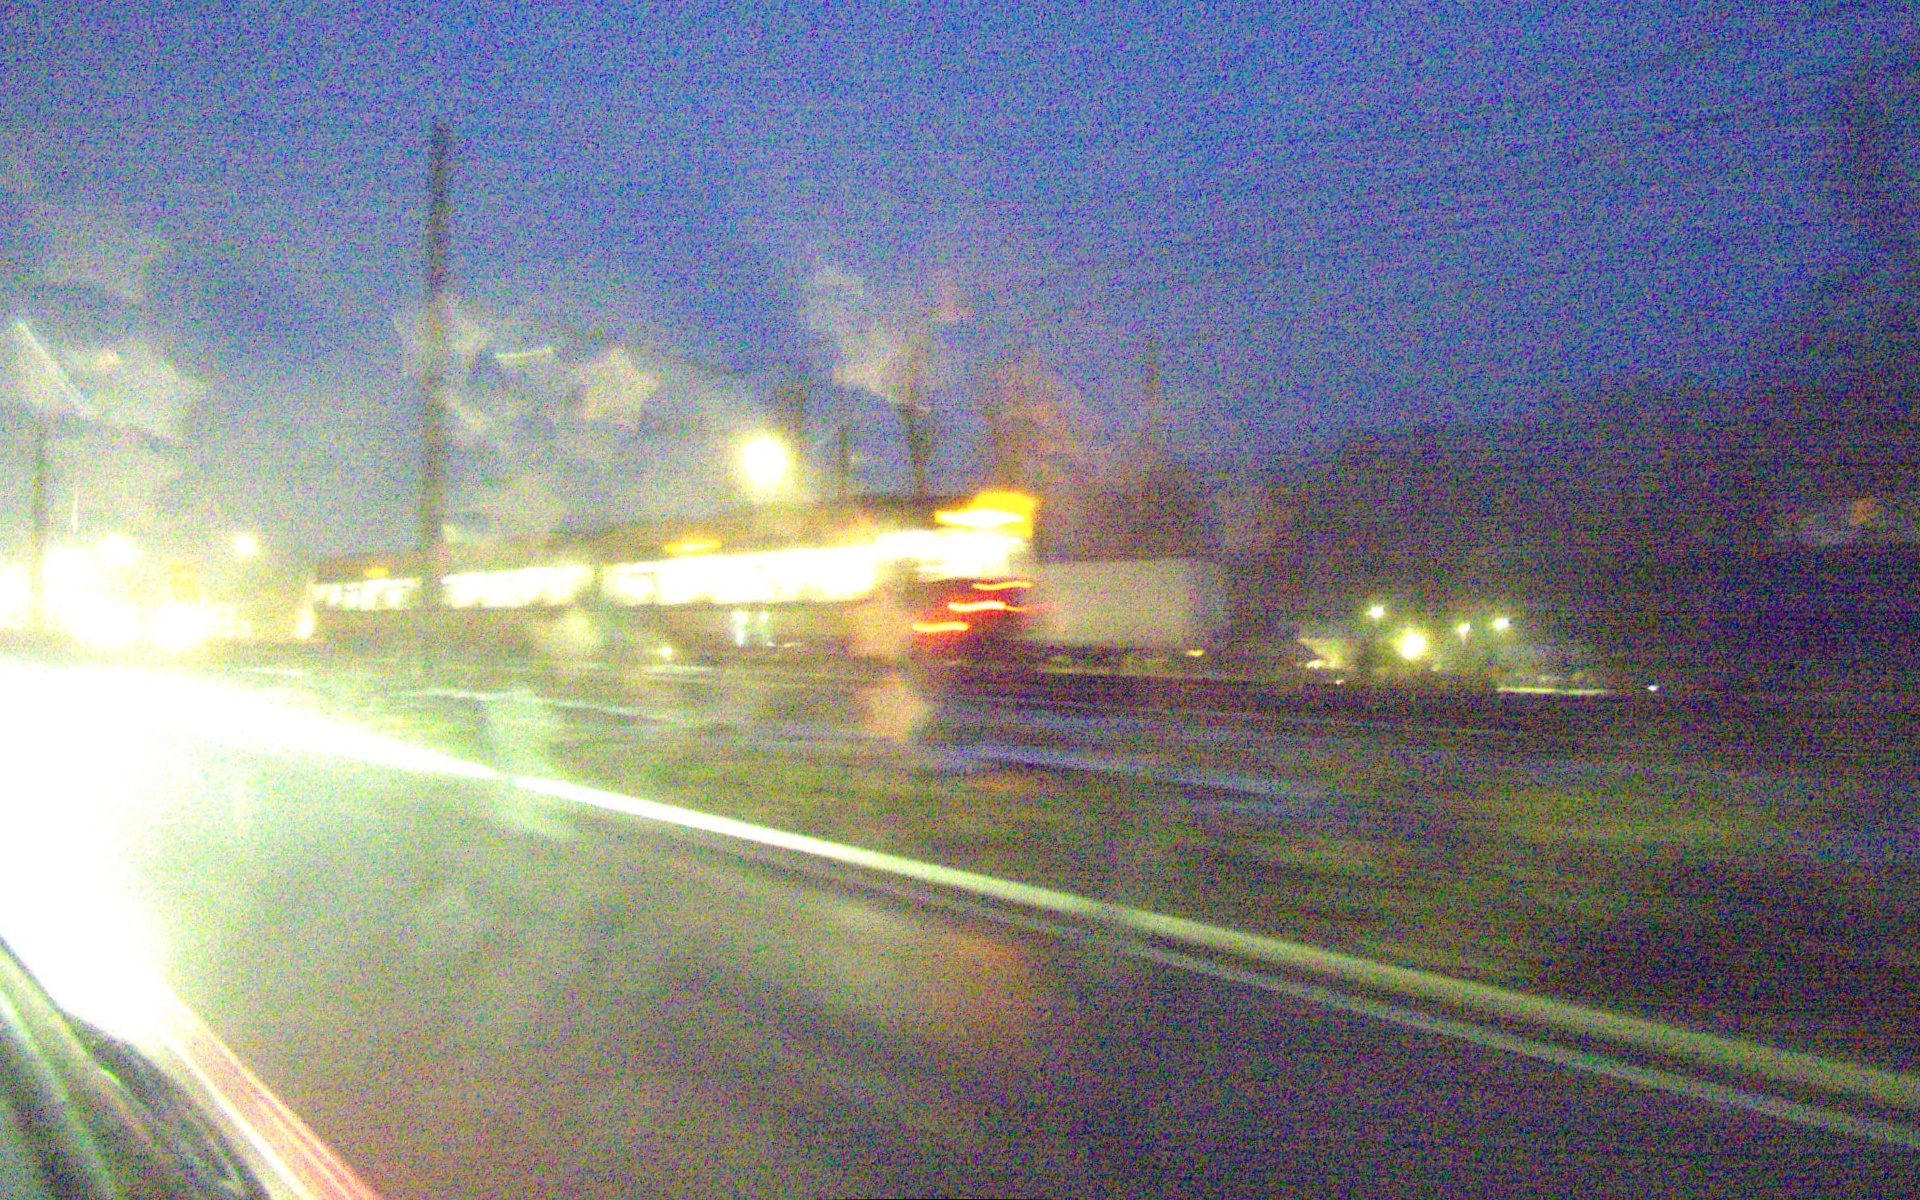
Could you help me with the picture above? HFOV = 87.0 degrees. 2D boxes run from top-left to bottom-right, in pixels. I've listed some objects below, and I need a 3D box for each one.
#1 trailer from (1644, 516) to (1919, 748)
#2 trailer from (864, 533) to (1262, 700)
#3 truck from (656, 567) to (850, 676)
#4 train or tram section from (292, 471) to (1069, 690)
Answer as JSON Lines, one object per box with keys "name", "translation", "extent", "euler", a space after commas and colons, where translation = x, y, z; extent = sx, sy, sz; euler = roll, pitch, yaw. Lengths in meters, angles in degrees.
{"name": "trailer", "translation": [22.879, 0.592, 19.706], "extent": [15.504, 4.644, 3.931], "euler": [-1, 0, 40]}
{"name": "trailer", "translation": [3.115, 0.535, 36.904], "extent": [14.824, 5.050, 3.931], "euler": [-1, 0, 40]}
{"name": "truck", "translation": [-10.005, 0.946, 47.888], "extent": [10.205, 4.644, 3.404], "euler": [-1, 0, 40]}
{"name": "train or tram section", "translation": [-12.795, -0.211, 30.918], "extent": [37.123, 3.843, 2.668], "euler": [-1, 0, 41]}
